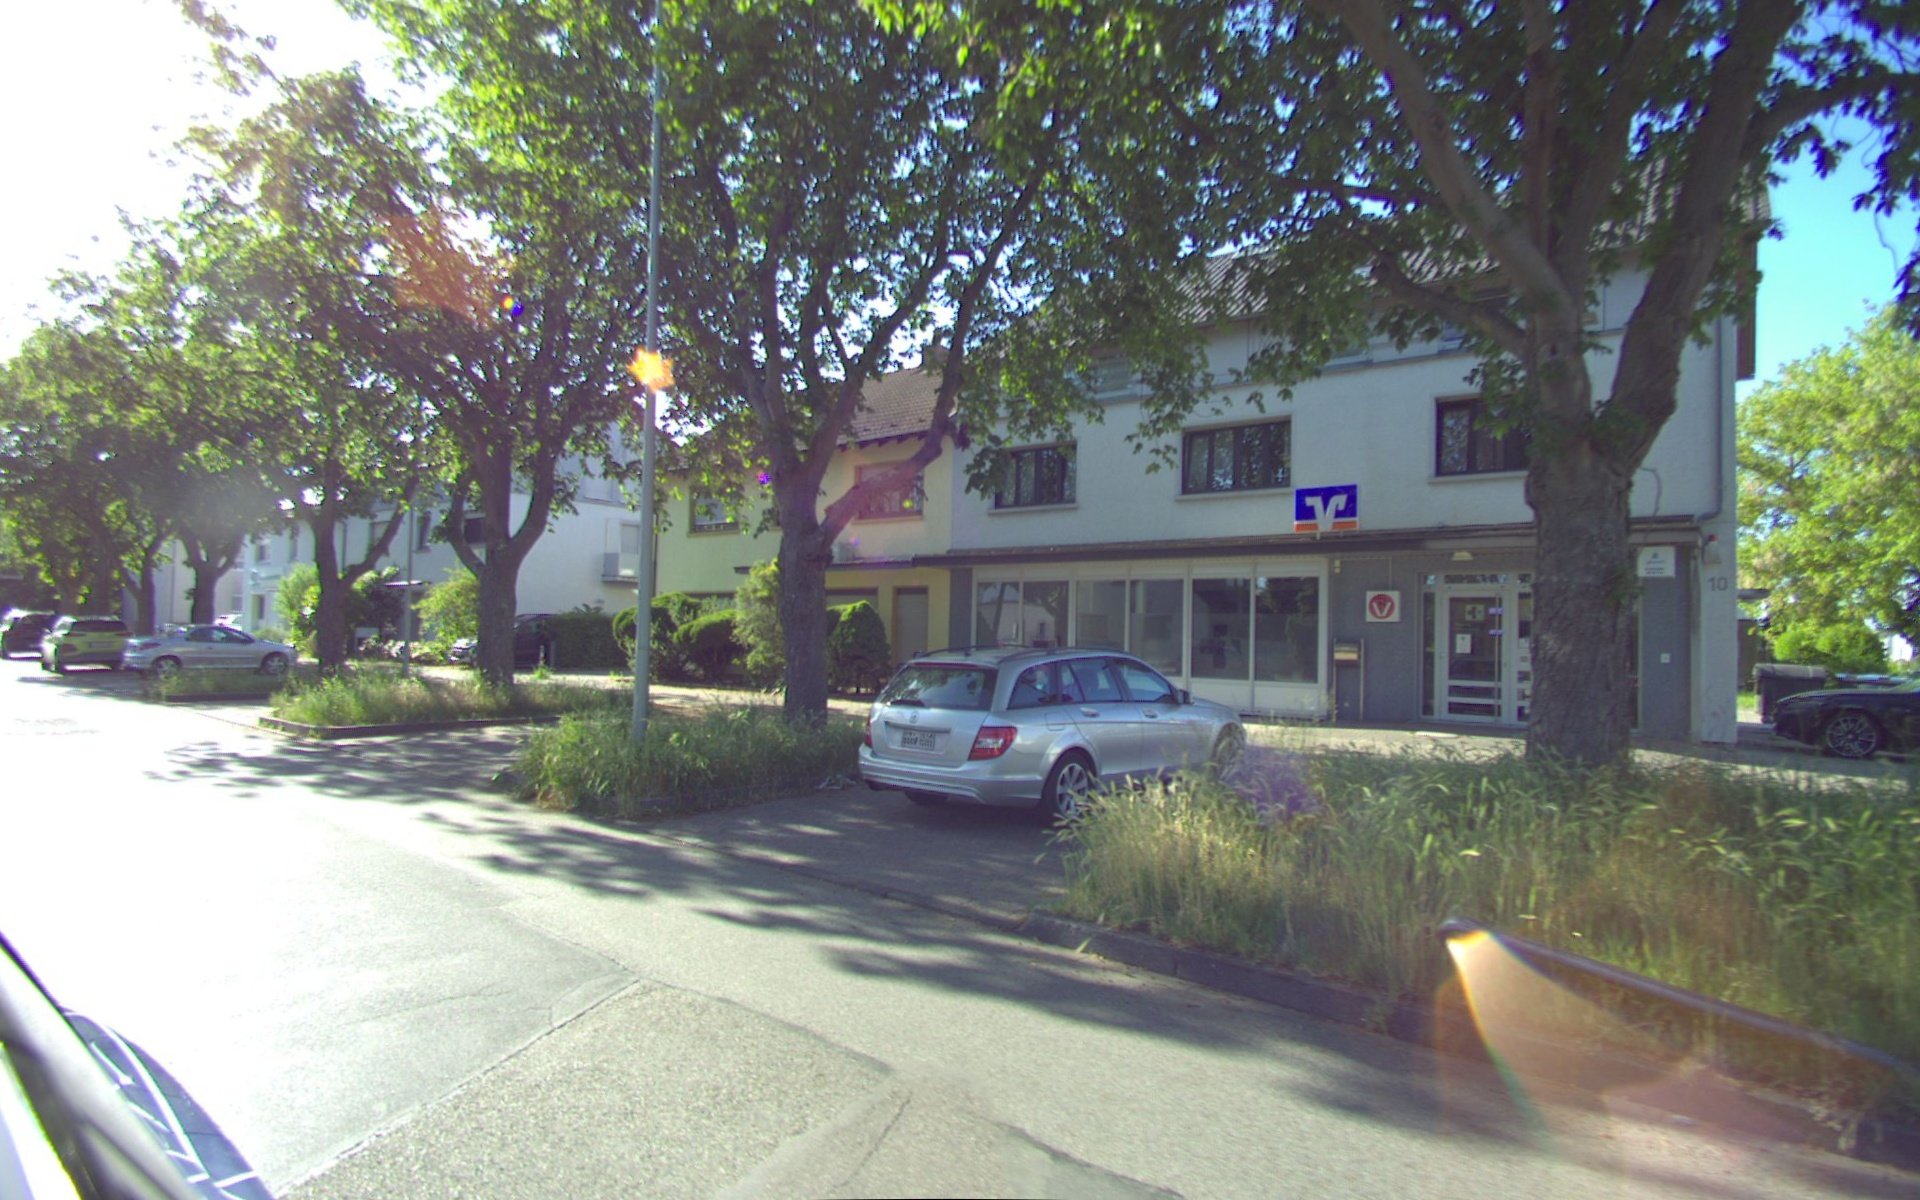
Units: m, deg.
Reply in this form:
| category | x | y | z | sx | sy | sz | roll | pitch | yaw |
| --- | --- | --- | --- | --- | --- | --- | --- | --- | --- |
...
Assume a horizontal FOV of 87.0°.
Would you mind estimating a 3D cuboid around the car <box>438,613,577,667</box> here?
| category | x | y | z | sx | sy | sz | roll | pitch | yaw |
| --- | --- | --- | --- | --- | --- | --- | --- | --- | --- |
| car | -14.718 | 1.333 | 33.015 | 1.692 | 1.577 | 3.722 | 0 | -3 | 44 |

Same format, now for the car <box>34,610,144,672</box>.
| category | x | y | z | sx | sy | sz | roll | pitch | yaw |
| --- | --- | --- | --- | --- | --- | --- | --- | --- | --- |
| car | -24.787 | 1.108 | 28.763 | 3.695 | 1.551 | 1.972 | 0 | 1 | 43 |

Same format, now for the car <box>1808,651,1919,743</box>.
| category | x | y | z | sx | sy | sz | roll | pitch | yaw |
| --- | --- | --- | --- | --- | --- | --- | --- | --- | --- |
| car | 18.345 | 1.836 | 18.138 | 4.660 | 1.539 | 1.855 | 2 | -1 | 36 |

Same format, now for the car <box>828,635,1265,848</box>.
| category | x | y | z | sx | sy | sz | roll | pitch | yaw |
| --- | --- | --- | --- | --- | --- | --- | --- | --- | --- |
| car | 1.038 | 1.087 | 9.557 | 1.998 | 1.426 | 4.337 | 0 | -1 | 40 |

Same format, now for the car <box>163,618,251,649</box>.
| category | x | y | z | sx | sy | sz | roll | pitch | yaw |
| --- | --- | --- | --- | --- | --- | --- | --- | --- | --- |
| car | -45.583 | 1.996 | 61.299 | 1.999 | 1.696 | 3.947 | 0 | 1 | 40 |

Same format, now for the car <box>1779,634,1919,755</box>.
| category | x | y | z | sx | sy | sz | roll | pitch | yaw |
| --- | --- | --- | --- | --- | --- | --- | --- | --- | --- |
| car | 14.597 | 1.404 | 14.016 | 4.900 | 1.575 | 1.976 | 2 | -1 | 36 |

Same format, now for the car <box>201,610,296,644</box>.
| category | x | y | z | sx | sy | sz | roll | pitch | yaw |
| --- | --- | --- | --- | --- | --- | --- | --- | --- | --- |
| car | -39.503 | 1.447 | 56.212 | 1.999 | 1.696 | 3.947 | 0 | 1 | 40 |

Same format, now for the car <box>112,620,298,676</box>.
| category | x | y | z | sx | sy | sz | roll | pitch | yaw |
| --- | --- | --- | --- | --- | --- | --- | --- | --- | --- |
| car | -19.998 | 1.225 | 26.925 | 1.621 | 1.333 | 3.652 | 0 | 0 | 35 |

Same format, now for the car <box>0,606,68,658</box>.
| category | x | y | z | sx | sy | sz | roll | pitch | yaw |
| --- | --- | --- | --- | --- | --- | --- | --- | --- | --- |
| car | -33.353 | 1.141 | 36.149 | 4.055 | 1.746 | 1.791 | -1 | -3 | 43 |
